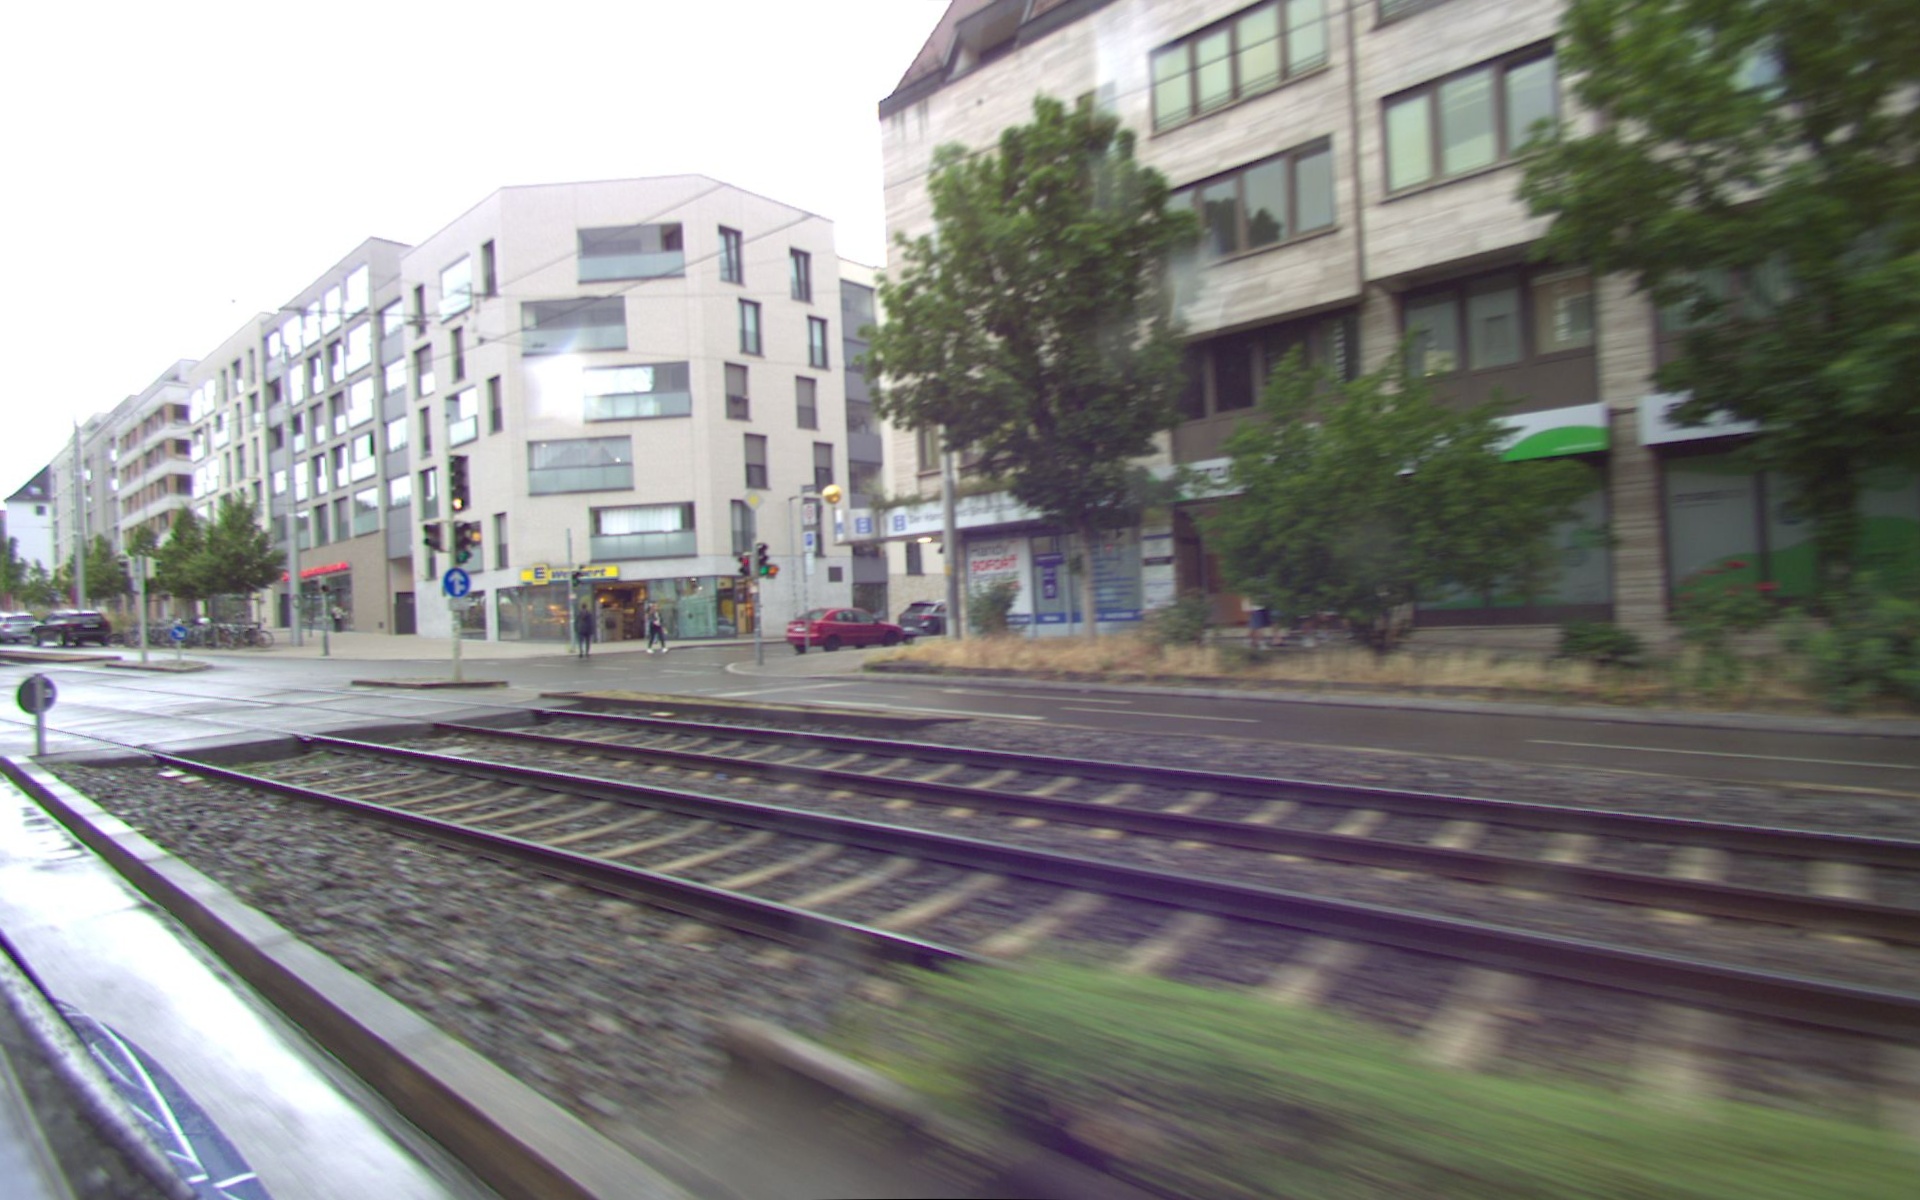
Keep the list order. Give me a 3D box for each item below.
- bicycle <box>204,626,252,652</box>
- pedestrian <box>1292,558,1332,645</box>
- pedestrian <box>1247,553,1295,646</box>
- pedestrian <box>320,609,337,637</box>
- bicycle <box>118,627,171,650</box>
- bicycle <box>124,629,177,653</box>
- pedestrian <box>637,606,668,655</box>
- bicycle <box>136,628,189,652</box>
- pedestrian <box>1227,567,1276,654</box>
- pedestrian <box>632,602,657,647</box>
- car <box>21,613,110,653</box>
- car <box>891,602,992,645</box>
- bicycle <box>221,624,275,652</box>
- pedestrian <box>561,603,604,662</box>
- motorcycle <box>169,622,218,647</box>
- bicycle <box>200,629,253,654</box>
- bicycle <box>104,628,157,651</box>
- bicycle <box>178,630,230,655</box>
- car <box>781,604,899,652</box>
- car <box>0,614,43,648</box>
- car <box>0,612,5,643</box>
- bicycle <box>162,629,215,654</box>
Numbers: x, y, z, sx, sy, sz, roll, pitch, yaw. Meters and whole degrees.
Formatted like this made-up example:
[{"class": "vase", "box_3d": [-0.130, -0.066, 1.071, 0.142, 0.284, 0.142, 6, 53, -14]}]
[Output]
[{"class": "bicycle", "box_3d": [-30.429, 1.621, 42.083, 0.383, 0.924, 1.782, -1, 2, 13]}, {"class": "pedestrian", "box_3d": [6.672, 0.020, 19.182, 0.585, 1.609, 0.499, 1, 3, 39]}, {"class": "pedestrian", "box_3d": [6.015, -0.024, 19.569, 0.683, 1.737, 0.641, 1, 4, 39]}, {"class": "pedestrian", "box_3d": [-34.199, 1.245, 54.811, 0.803, 1.460, 0.533, 1, 4, 43]}, {"class": "bicycle", "box_3d": [-35.350, 1.660, 43.886, 0.385, 0.924, 1.774, 0, 1, 26]}, {"class": "bicycle", "box_3d": [-34.512, 1.728, 43.177, 0.385, 0.924, 1.774, 0, 1, 26]}, {"class": "pedestrian", "box_3d": [-10.286, 1.008, 33.906, 0.767, 1.580, 0.648, -1, 3, 3]}, {"class": "bicycle", "box_3d": [-33.695, 1.690, 42.793, 0.385, 0.924, 1.774, 0, 1, 26]}, {"class": "pedestrian", "box_3d": [5.439, 0.181, 18.876, 0.683, 1.560, 0.641, 1, 4, 39]}, {"class": "pedestrian", "box_3d": [-12.308, 0.953, 39.469, 0.580, 1.723, 0.701, -1, 1, 17]}, {"class": "car", "box_3d": [-40.140, 1.446, 45.410, 4.312, 1.615, 1.669, 0, 2, 30]}, {"class": "car", "box_3d": [-0.608, 0.809, 35.852, 1.592, 1.327, 3.656, 1, 2, 40]}, {"class": "bicycle", "box_3d": [-28.872, 1.535, 41.075, 0.438, 0.987, 1.774, 0, 2, 26]}, {"class": "pedestrian", "box_3d": [-12.069, 1.024, 32.368, 0.956, 1.843, 0.923, 0, 0, 33]}, {"class": "motorcycle", "box_3d": [-35.487, 1.585, 46.882, 0.540, 1.050, 1.748, 1, 1, 27]}, {"class": "bicycle", "box_3d": [-30.008, 1.700, 41.422, 0.385, 0.883, 1.772, 0, 2, 28]}, {"class": "bicycle", "box_3d": [-36.197, 1.716, 44.197, 0.385, 0.924, 1.774, 0, 2, 26]}, {"class": "bicycle", "box_3d": [-31.396, 1.765, 42.045, 0.385, 0.924, 1.776, 0, 1, 22]}, {"class": "car", "box_3d": [-3.787, 0.849, 32.408, 1.593, 1.327, 3.656, 1, 2, 40]}, {"class": "car", "box_3d": [-46.039, 1.478, 48.621, 4.312, 1.475, 1.669, 0, 2, 30]}, {"class": "car", "box_3d": [-50.360, 1.429, 51.172, 4.027, 1.541, 1.671, 0, 2, 26]}, {"class": "bicycle", "box_3d": [-32.317, 1.733, 42.399, 0.385, 0.924, 1.774, 0, 2, 26]}]
